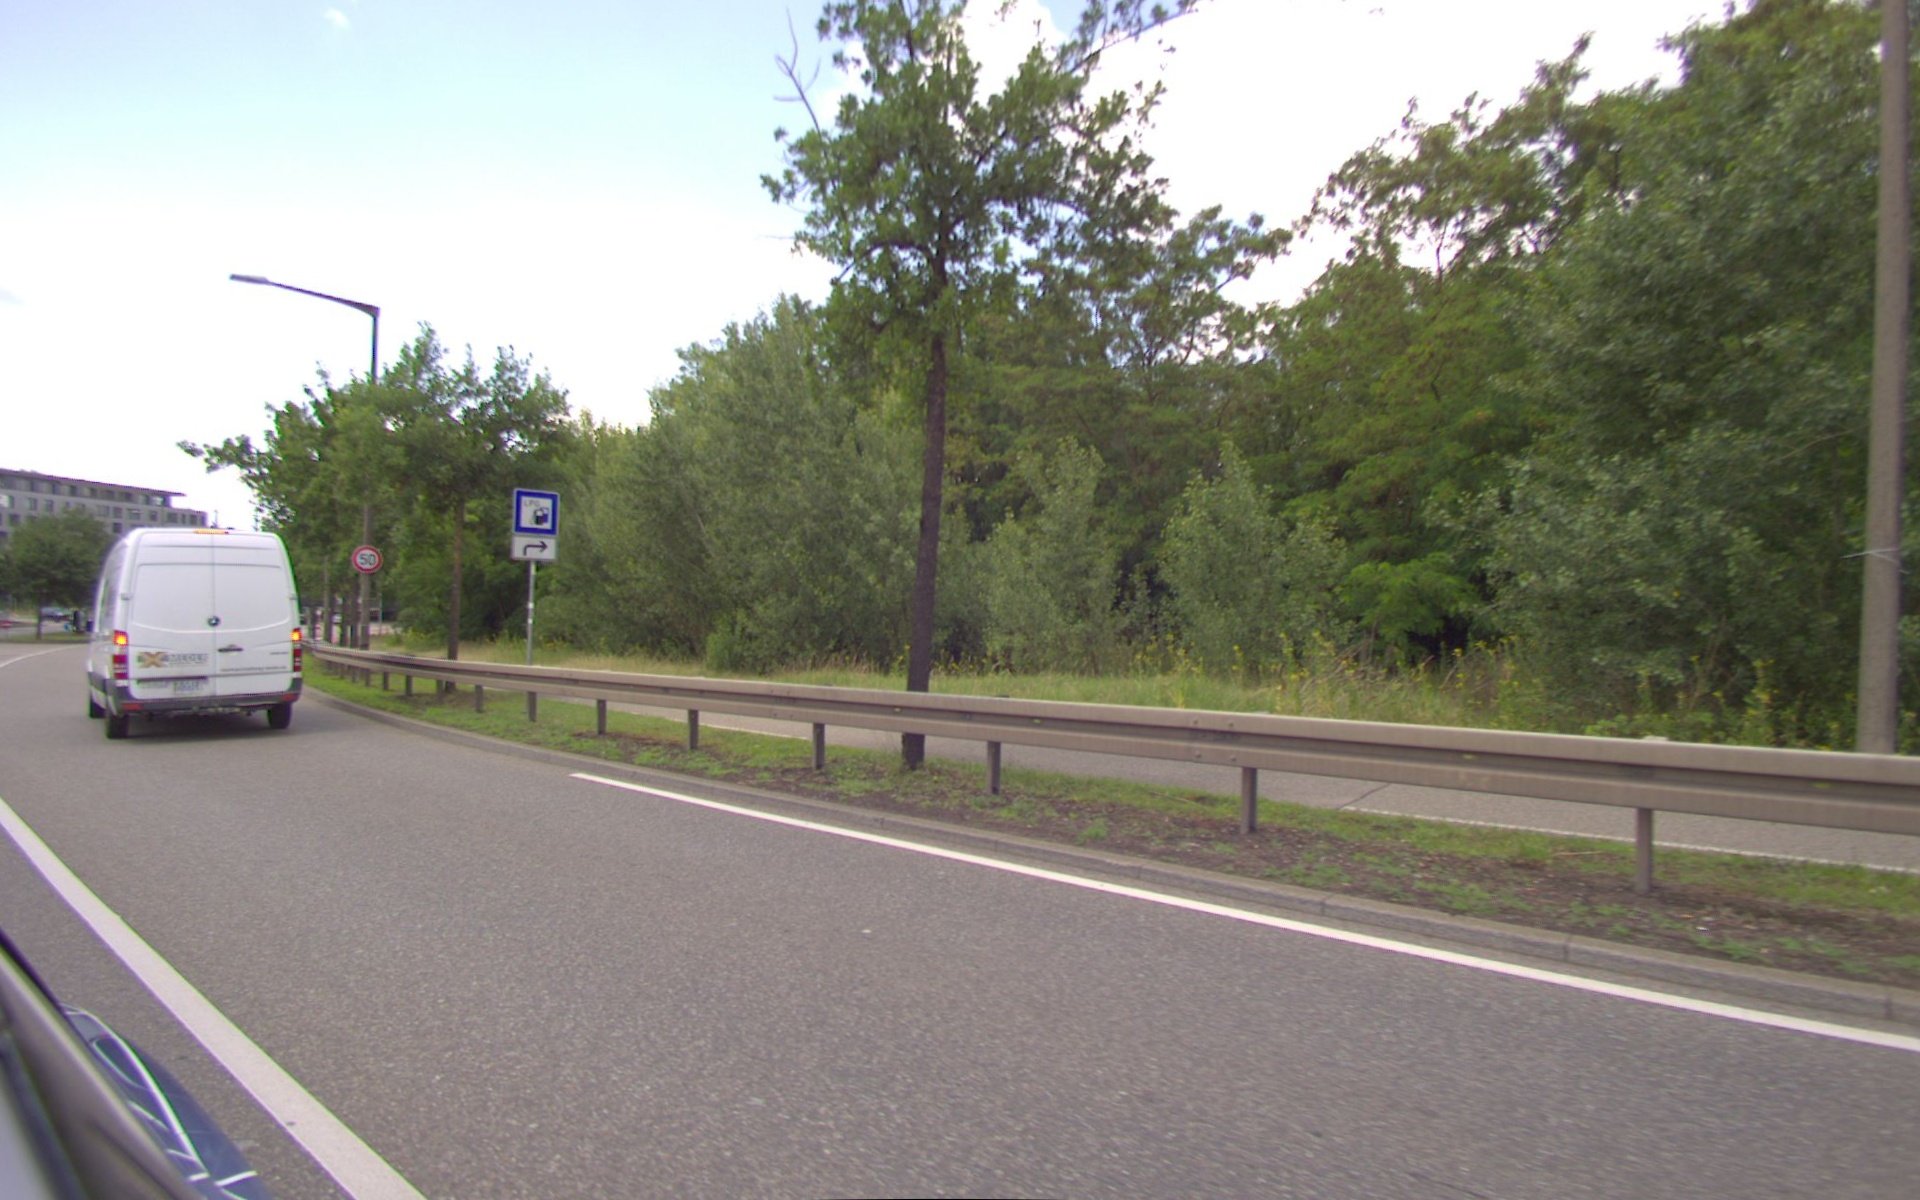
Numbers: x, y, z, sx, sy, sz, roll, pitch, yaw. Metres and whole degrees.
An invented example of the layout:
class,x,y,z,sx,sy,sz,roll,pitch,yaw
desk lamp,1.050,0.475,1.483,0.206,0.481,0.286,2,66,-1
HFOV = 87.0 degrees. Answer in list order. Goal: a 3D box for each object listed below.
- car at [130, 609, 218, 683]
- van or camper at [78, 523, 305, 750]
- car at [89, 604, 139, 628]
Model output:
class,x,y,z,sx,sy,sz,roll,pitch,yaw
car,-21.943,1.240,28.184,1.753,1.881,5.276,2,-2,-39
van or camper,-11.152,0.473,14.469,1.970,2.601,5.987,0,-1,-43
car,-85.838,1.571,102.761,1.966,2.337,4.900,-1,0,-14
